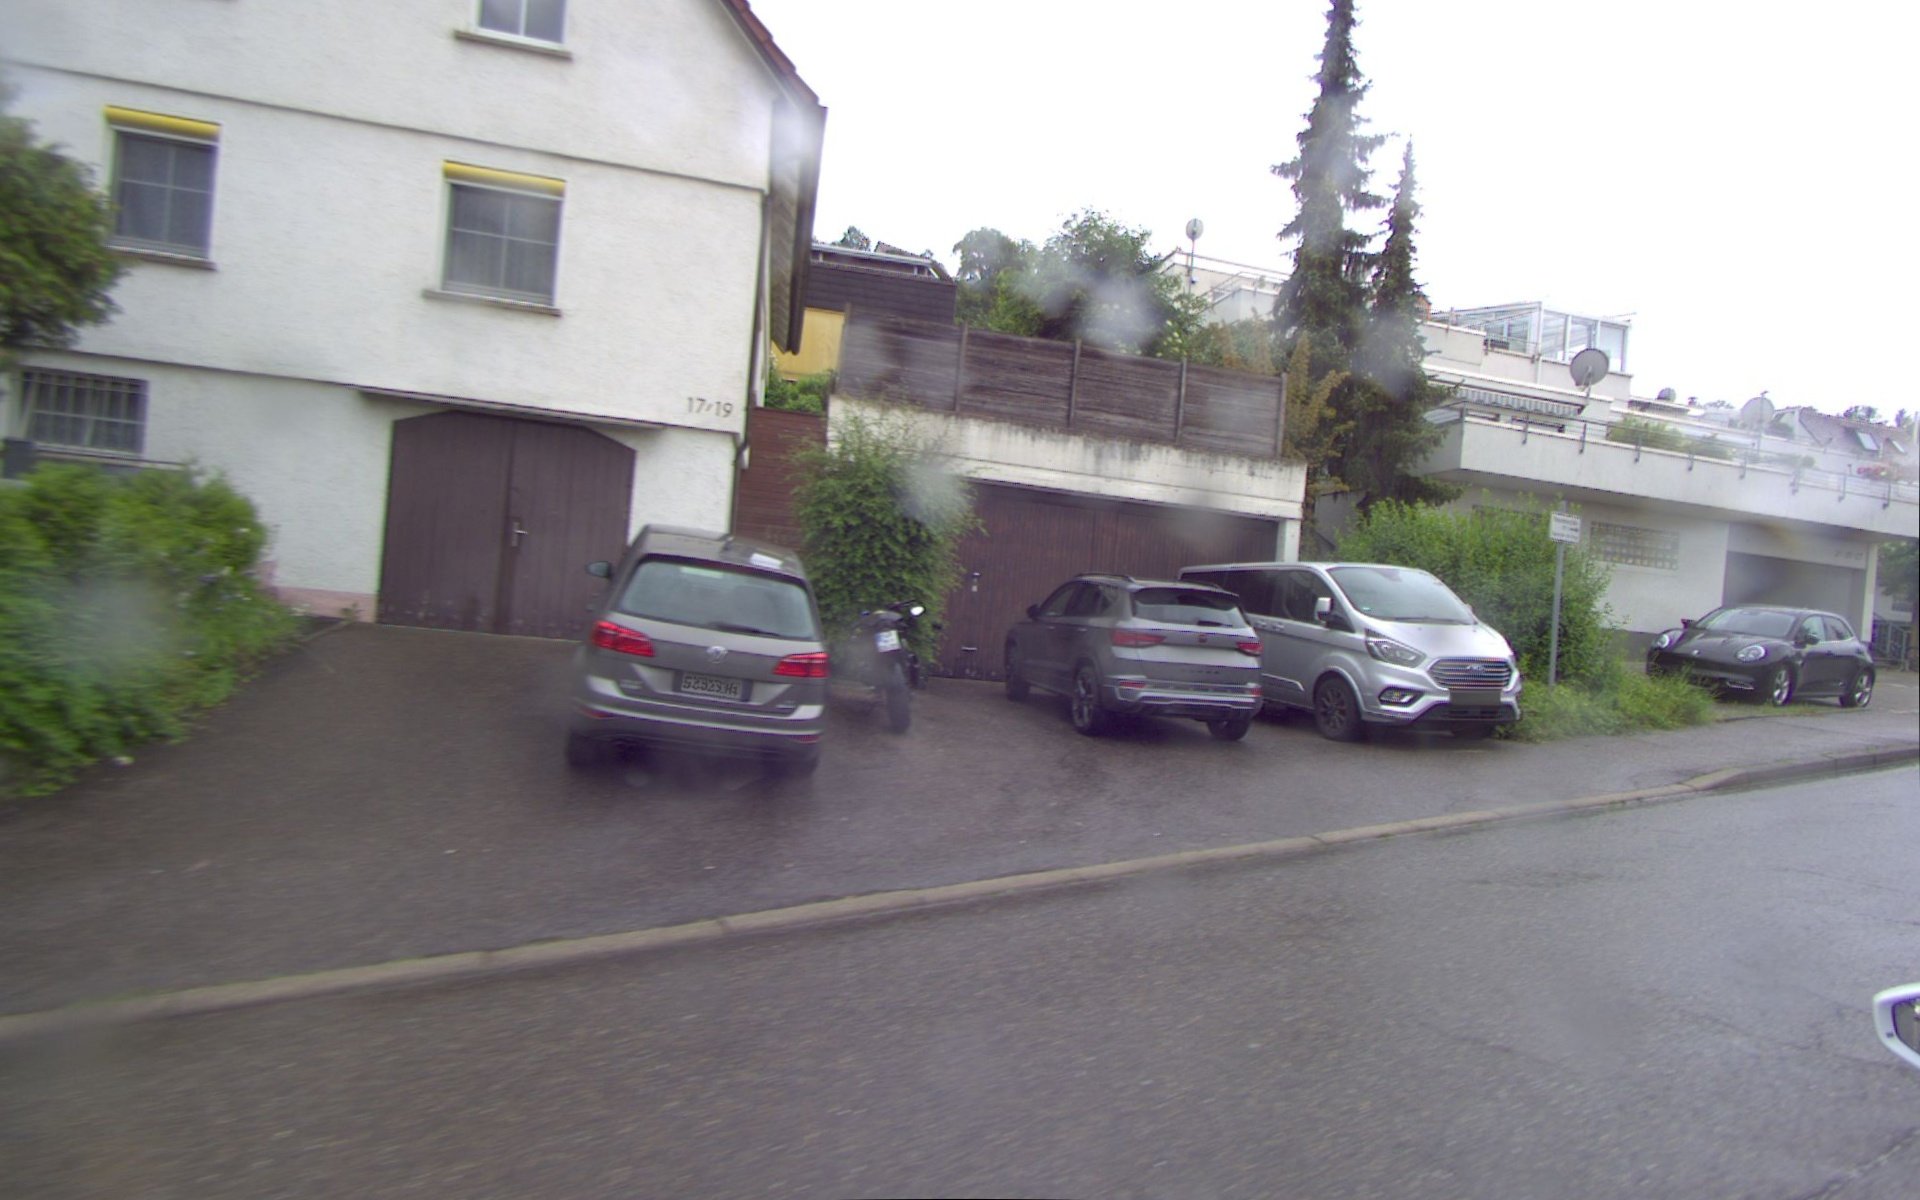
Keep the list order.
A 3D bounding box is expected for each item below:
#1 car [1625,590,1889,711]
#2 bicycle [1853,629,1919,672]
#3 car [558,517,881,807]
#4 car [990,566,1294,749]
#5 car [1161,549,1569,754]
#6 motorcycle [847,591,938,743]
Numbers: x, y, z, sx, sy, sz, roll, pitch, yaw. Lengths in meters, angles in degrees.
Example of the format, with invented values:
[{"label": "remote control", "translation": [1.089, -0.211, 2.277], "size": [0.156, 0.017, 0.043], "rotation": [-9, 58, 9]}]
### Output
[{"label": "car", "translation": [13.102, 0.786, 16.490], "size": [4.143, 1.610, 1.682], "rotation": [1, 7, -27]}, {"label": "bicycle", "translation": [25.191, 1.353, 27.234], "size": [0.469, 1.020, 1.568], "rotation": [2, 2, -1]}, {"label": "car", "translation": [-1.995, 0.270, 8.113], "size": [1.863, 1.715, 4.053], "rotation": [2, 3, -16]}, {"label": "car", "translation": [1.797, 0.505, 11.373], "size": [1.861, 1.660, 4.056], "rotation": [3, 1, -13]}, {"label": "car", "translation": [4.546, 0.541, 12.388], "size": [2.105, 1.970, 5.088], "rotation": [1, -1, -13]}, {"label": "motorcycle", "translation": [-0.677, 0.568, 9.456], "size": [0.629, 1.186, 1.783], "rotation": [4, 3, -9]}]
